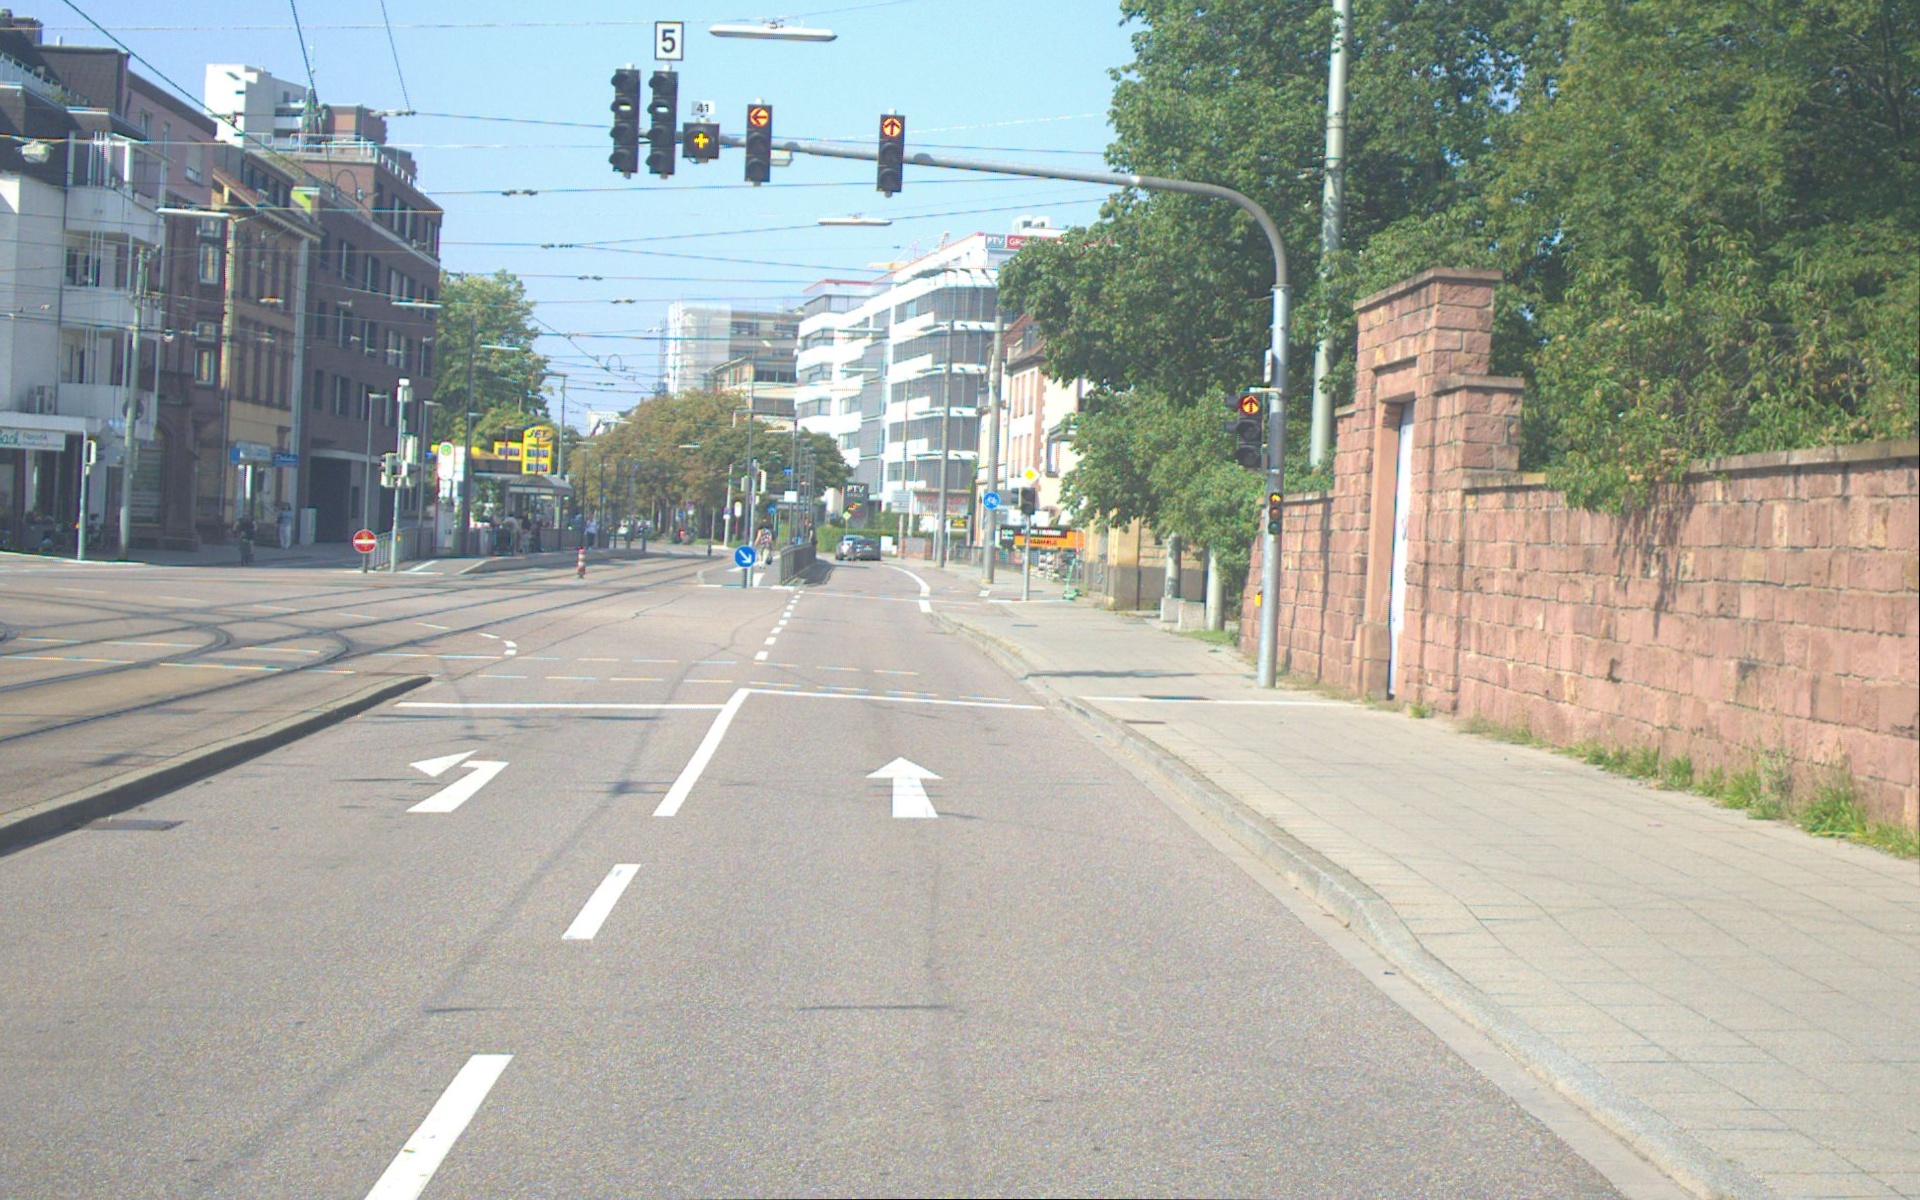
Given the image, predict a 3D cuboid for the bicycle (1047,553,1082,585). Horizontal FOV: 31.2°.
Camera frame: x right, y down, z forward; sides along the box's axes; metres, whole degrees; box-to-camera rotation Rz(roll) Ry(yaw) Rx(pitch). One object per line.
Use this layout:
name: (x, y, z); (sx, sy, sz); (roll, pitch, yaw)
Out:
bicycle: (3.766, -1.118, 124.203); (0.731, 1.129, 2.840); (-1, 1, -9)

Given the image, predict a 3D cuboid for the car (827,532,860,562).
car: (-7.440, -3.393, 219.672); (2.011, 1.852, 4.000); (1, 1, 0)

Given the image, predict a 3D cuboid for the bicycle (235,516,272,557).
bicycle: (-20.712, -1.880, 100.806); (0.575, 1.175, 2.208); (1, 1, 0)

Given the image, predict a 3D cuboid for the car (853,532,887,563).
car: (-5.592, -3.283, 213.347); (2.011, 1.852, 4.000); (1, 1, 0)

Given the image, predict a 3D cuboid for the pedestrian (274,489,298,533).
pedestrian: (-24.785, -3.261, 126.410); (0.483, 1.554, 0.887); (4, 0, 9)

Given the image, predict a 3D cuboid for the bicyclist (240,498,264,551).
bicyclist: (-20.709, -2.210, 100.584); (0.568, 1.518, 0.490); (1, 1, 0)
